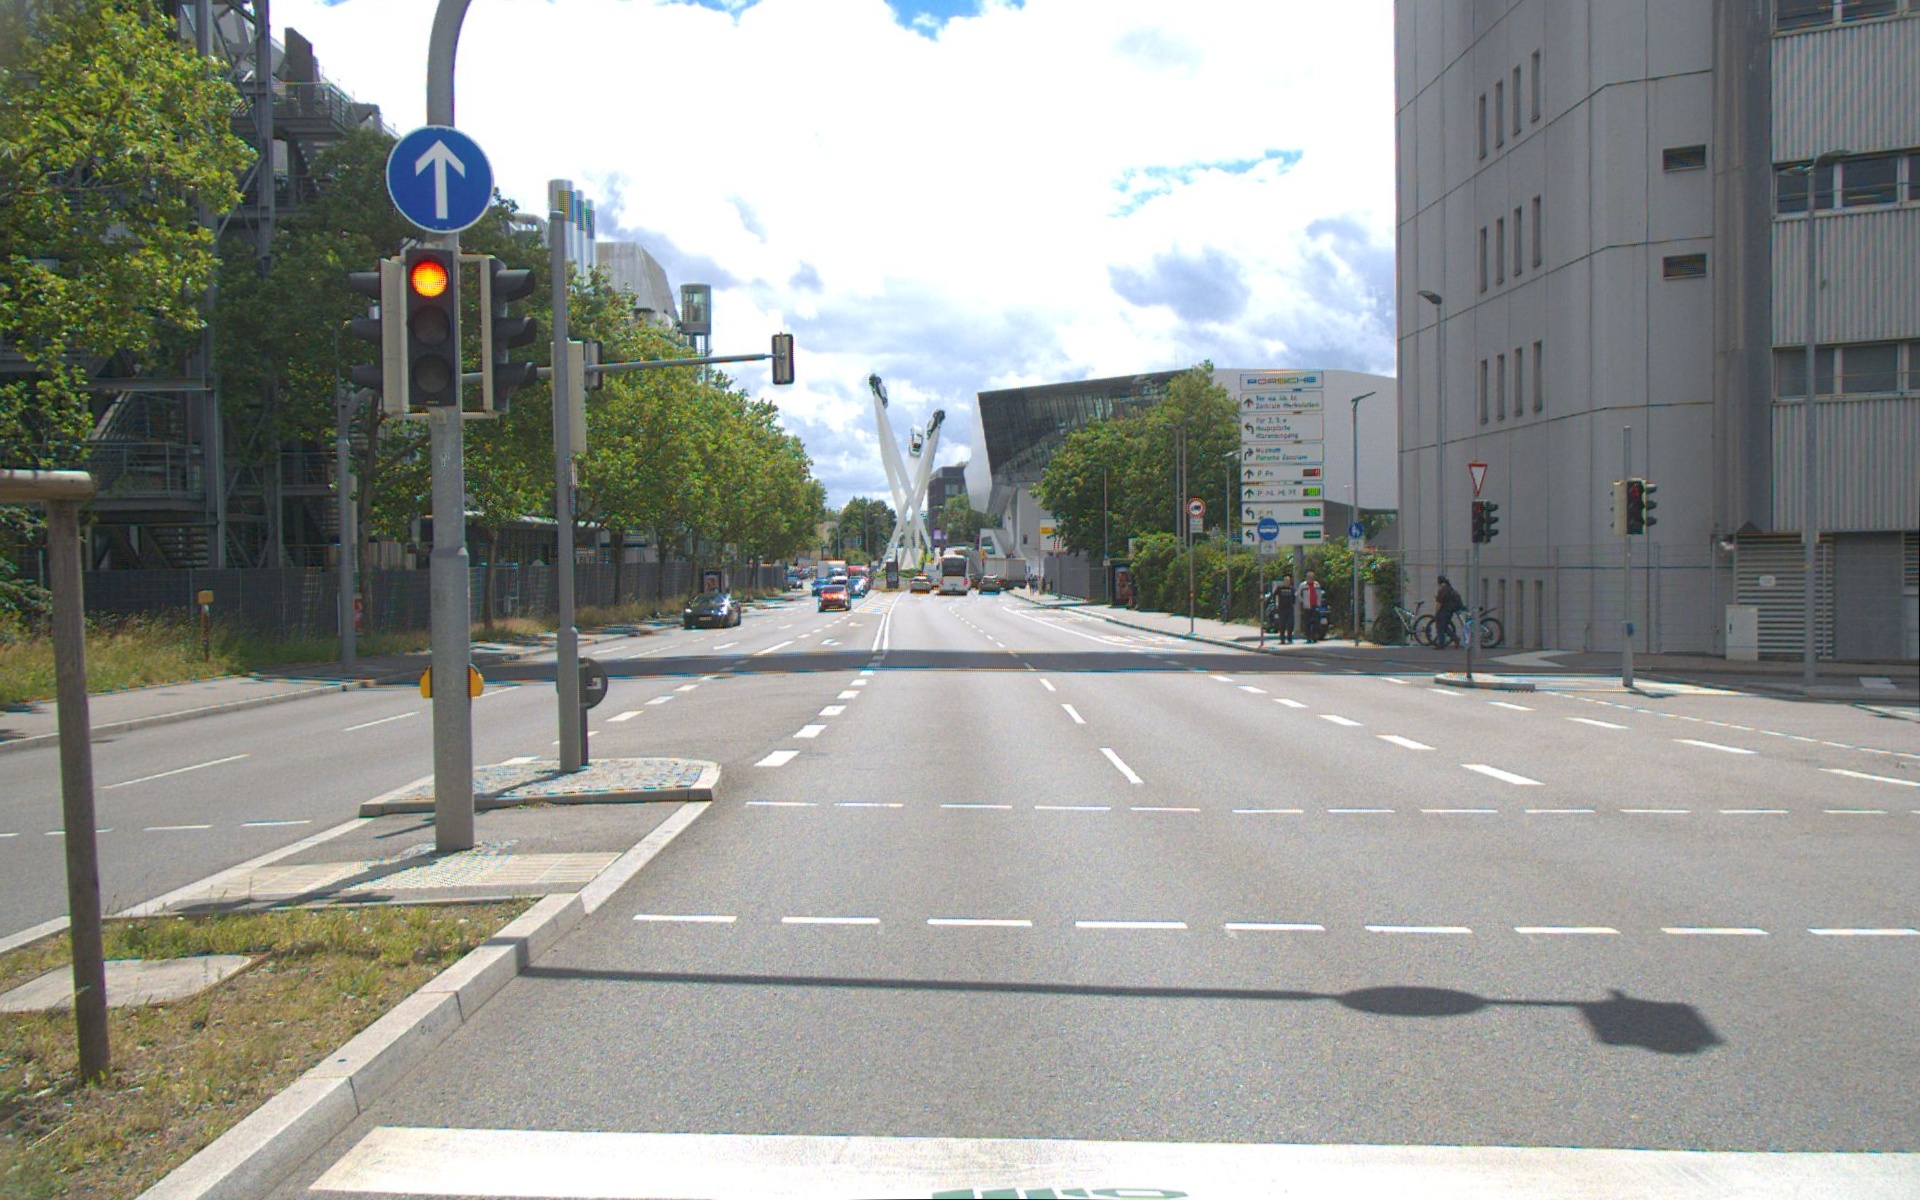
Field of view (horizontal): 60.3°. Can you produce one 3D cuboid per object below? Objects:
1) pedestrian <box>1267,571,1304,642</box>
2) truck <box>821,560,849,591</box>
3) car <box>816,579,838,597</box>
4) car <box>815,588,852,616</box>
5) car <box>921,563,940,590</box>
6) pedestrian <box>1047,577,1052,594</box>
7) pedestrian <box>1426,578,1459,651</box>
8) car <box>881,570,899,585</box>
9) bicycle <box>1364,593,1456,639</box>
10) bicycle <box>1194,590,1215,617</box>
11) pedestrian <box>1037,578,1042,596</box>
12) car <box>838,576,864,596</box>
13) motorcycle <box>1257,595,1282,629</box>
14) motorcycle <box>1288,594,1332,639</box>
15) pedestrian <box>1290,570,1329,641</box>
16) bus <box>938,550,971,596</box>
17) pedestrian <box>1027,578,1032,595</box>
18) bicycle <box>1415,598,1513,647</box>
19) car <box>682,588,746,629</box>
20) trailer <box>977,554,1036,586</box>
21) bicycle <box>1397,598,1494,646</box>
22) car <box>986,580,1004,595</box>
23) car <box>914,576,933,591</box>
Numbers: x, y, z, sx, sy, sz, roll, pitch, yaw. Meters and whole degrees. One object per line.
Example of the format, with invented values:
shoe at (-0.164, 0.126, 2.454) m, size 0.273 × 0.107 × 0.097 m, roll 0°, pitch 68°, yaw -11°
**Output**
pedestrian at (8.513, 0.170, 43.294) m, size 0.631 × 1.825 × 0.709 m, roll -3°, pitch 1°, yaw -16°
truck at (-14.049, -2.750, 186.587) m, size 2.538 × 3.382 × 7.078 m, roll 1°, pitch 0°, yaw 0°
car at (-12.011, -1.112, 149.450) m, size 1.761 × 1.601 × 3.998 m, roll 0°, pitch 0°, yaw -2°
car at (-7.053, 0.095, 92.526) m, size 1.733 × 1.445 × 3.701 m, roll -2°, pitch 0°, yaw 0°
car at (-3.059, -2.427, 171.201) m, size 1.807 × 2.669 × 3.998 m, roll 1°, pitch 0°, yaw -2°
pedestrian at (7.486, -1.194, 138.643) m, size 0.378 × 1.446 × 0.423 m, roll 1°, pitch -1°, yaw 0°
pedestrian at (11.159, 0.337, 38.253) m, size 0.643 × 1.669 × 0.534 m, roll 1°, pitch -1°, yaw 27°
car at (-6.585, -2.138, 155.799) m, size 1.525 × 1.295 × 3.701 m, roll -2°, pitch 0°, yaw 0°
bicycle at (11.150, 0.385, 41.023) m, size 2.180 × 1.105 × 0.475 m, roll 1°, pitch -1°, yaw 35°
bicycle at (9.668, 0.150, 65.400) m, size 0.410 × 1.040 × 1.910 m, roll 1°, pitch 0°, yaw -5°
pedestrian at (6.582, -1.097, 137.270) m, size 0.378 × 1.446 × 0.423 m, roll 1°, pitch -1°, yaw 0°
car at (-8.602, -1.103, 131.026) m, size 1.733 × 1.445 × 3.701 m, roll -2°, pitch 0°, yaw 0°
motorcycle at (9.738, 0.367, 52.140) m, size 0.448 × 1.040 × 1.913 m, roll 1°, pitch 0°, yaw 1°
motorcycle at (9.545, 0.450, 45.152) m, size 0.410 × 1.186 × 1.951 m, roll 1°, pitch 0°, yaw -11°
pedestrian at (9.164, 0.146, 43.408) m, size 0.680 × 1.825 × 0.709 m, roll -3°, pitch 1°, yaw -16°
bus at (-0.487, -2.311, 143.586) m, size 2.730 × 3.750 × 6.942 m, roll 1°, pitch 0°, yaw 0°
pedestrian at (5.835, -1.116, 138.063) m, size 0.378 × 1.446 × 0.423 m, roll 1°, pitch -1°, yaw 0°
bicycle at (11.855, 0.529, 38.955) m, size 2.149 × 1.105 × 0.475 m, roll 1°, pitch -1°, yaw 35°
car at (-10.150, 0.320, 68.480) m, size 1.878 × 1.514 × 4.772 m, roll -2°, pitch 1°, yaw 0°
trailer at (4.902, -3.103, 172.193) m, size 3.250 × 3.047 × 10.380 m, roll 1°, pitch 0°, yaw 18°
bicycle at (11.636, 0.528, 39.698) m, size 2.180 × 1.105 × 0.475 m, roll 1°, pitch -1°, yaw 35°
car at (3.082, -1.119, 146.292) m, size 1.525 × 1.295 × 3.701 m, roll -2°, pitch 0°, yaw 1°
car at (-3.309, -1.467, 148.565) m, size 1.525 × 1.295 × 3.701 m, roll -2°, pitch 0°, yaw 1°
